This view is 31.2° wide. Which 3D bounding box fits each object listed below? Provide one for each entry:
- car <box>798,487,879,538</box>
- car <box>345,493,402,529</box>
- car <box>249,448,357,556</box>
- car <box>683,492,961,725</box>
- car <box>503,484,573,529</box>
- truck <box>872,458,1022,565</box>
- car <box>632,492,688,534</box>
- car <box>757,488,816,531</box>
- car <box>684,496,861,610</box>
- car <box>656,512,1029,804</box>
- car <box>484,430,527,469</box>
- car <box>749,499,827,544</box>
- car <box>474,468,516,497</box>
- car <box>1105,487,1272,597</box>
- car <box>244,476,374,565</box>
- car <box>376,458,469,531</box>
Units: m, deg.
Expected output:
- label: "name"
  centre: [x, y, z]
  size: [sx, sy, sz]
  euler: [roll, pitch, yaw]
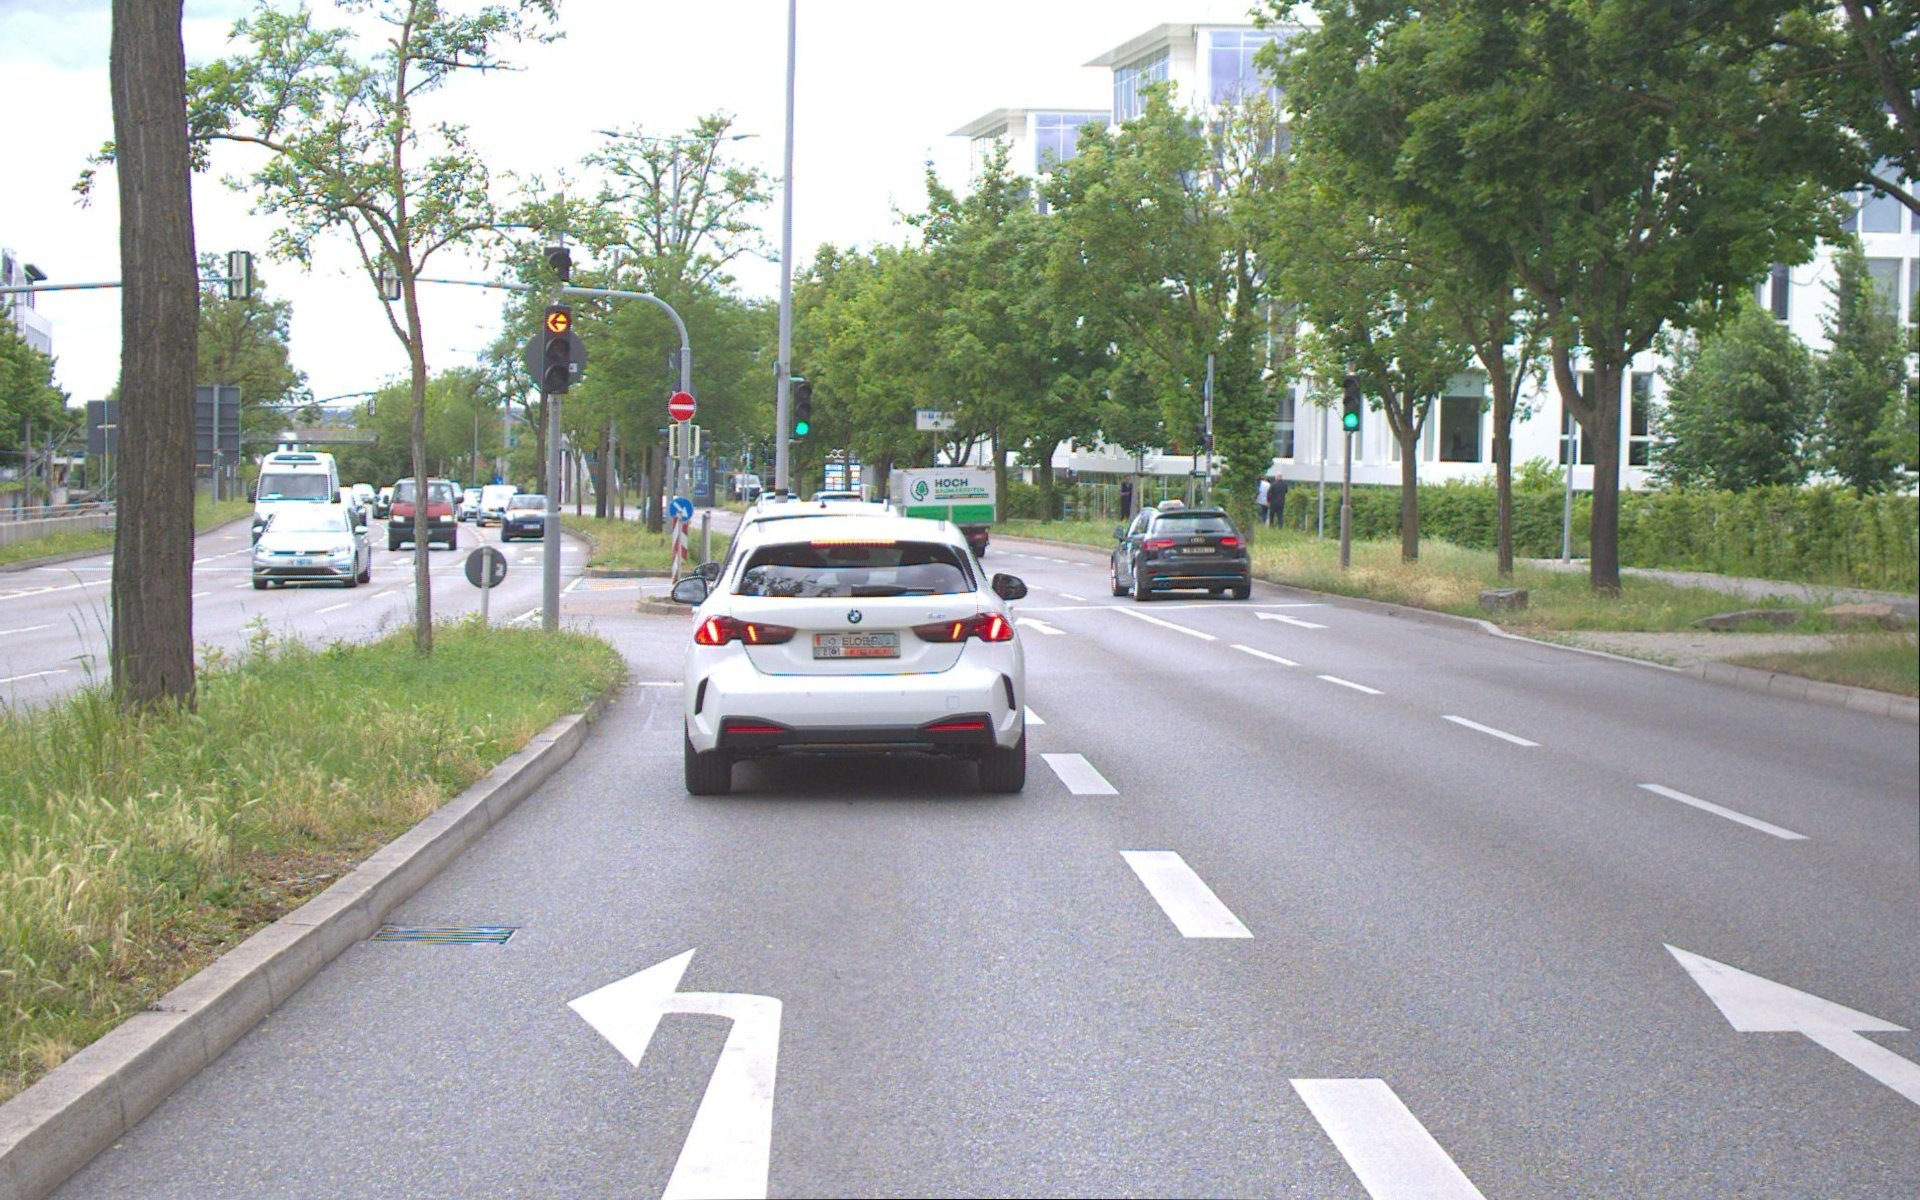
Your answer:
- label: "car"
  centre: [-3.697, -2.664, 104.066]
  size: [1.993, 1.503, 4.001]
  euler: [0, 2, -9]
- label: "car"
  centre: [-23.303, -3.551, 136.754]
  size: [1.708, 1.414, 3.803]
  euler: [0, 2, -2]
- label: "car"
  centre: [-16.948, -2.550, 88.939]
  size: [1.993, 2.625, 5.876]
  euler: [2, 2, -4]
- label: "car"
  centre: [-1.021, 0.023, 26.933]
  size: [1.993, 1.666, 4.000]
  euler: [1, 1, -1]
- label: "car"
  centre: [-12.920, -2.867, 105.445]
  size: [1.753, 1.366, 3.780]
  euler: [0, 2, -2]
- label: "truck"
  centre: [-0.388, -2.169, 85.070]
  size: [2.858, 2.510, 6.289]
  euler: [1, 1, -8]
- label: "car"
  centre: [-11.314, -3.289, 129.701]
  size: [1.993, 1.485, 4.001]
  euler: [1, 2, -4]
- label: "car"
  centre: [-6.210, -3.242, 122.902]
  size: [1.993, 1.485, 4.001]
  euler: [1, 2, -4]
- label: "car"
  centre: [-2.592, -0.674, 48.492]
  size: [1.994, 1.503, 4.000]
  euler: [1, 1, 4]
- label: "car"
  centre: [-0.560, 0.252, 19.333]
  size: [1.863, 1.444, 4.000]
  euler: [1, 1, 1]
- label: "car"
  centre: [-24.391, -8.071, 184.631]
  size: [1.993, 2.004, 4.325]
  euler: [2, 2, -4]
- label: "car"
  centre: [-6.016, -2.749, 119.827]
  size: [1.993, 1.503, 4.001]
  euler: [0, 2, -13]
- label: "car"
  centre: [-27.287, -6.867, 201.852]
  size: [1.993, 1.612, 4.001]
  euler: [2, 2, -2]
- label: "car"
  centre: [3.453, -0.913, 52.584]
  size: [1.993, 1.590, 4.001]
  euler: [1, 2, -4]
- label: "car"
  centre: [-11.424, -1.424, 60.549]
  size: [1.753, 1.439, 4.135]
  euler: [2, 2, -4]
- label: "car"
  centre: [-14.684, -2.882, 94.133]
  size: [1.935, 1.911, 4.974]
  euler: [1, 1, -2]
